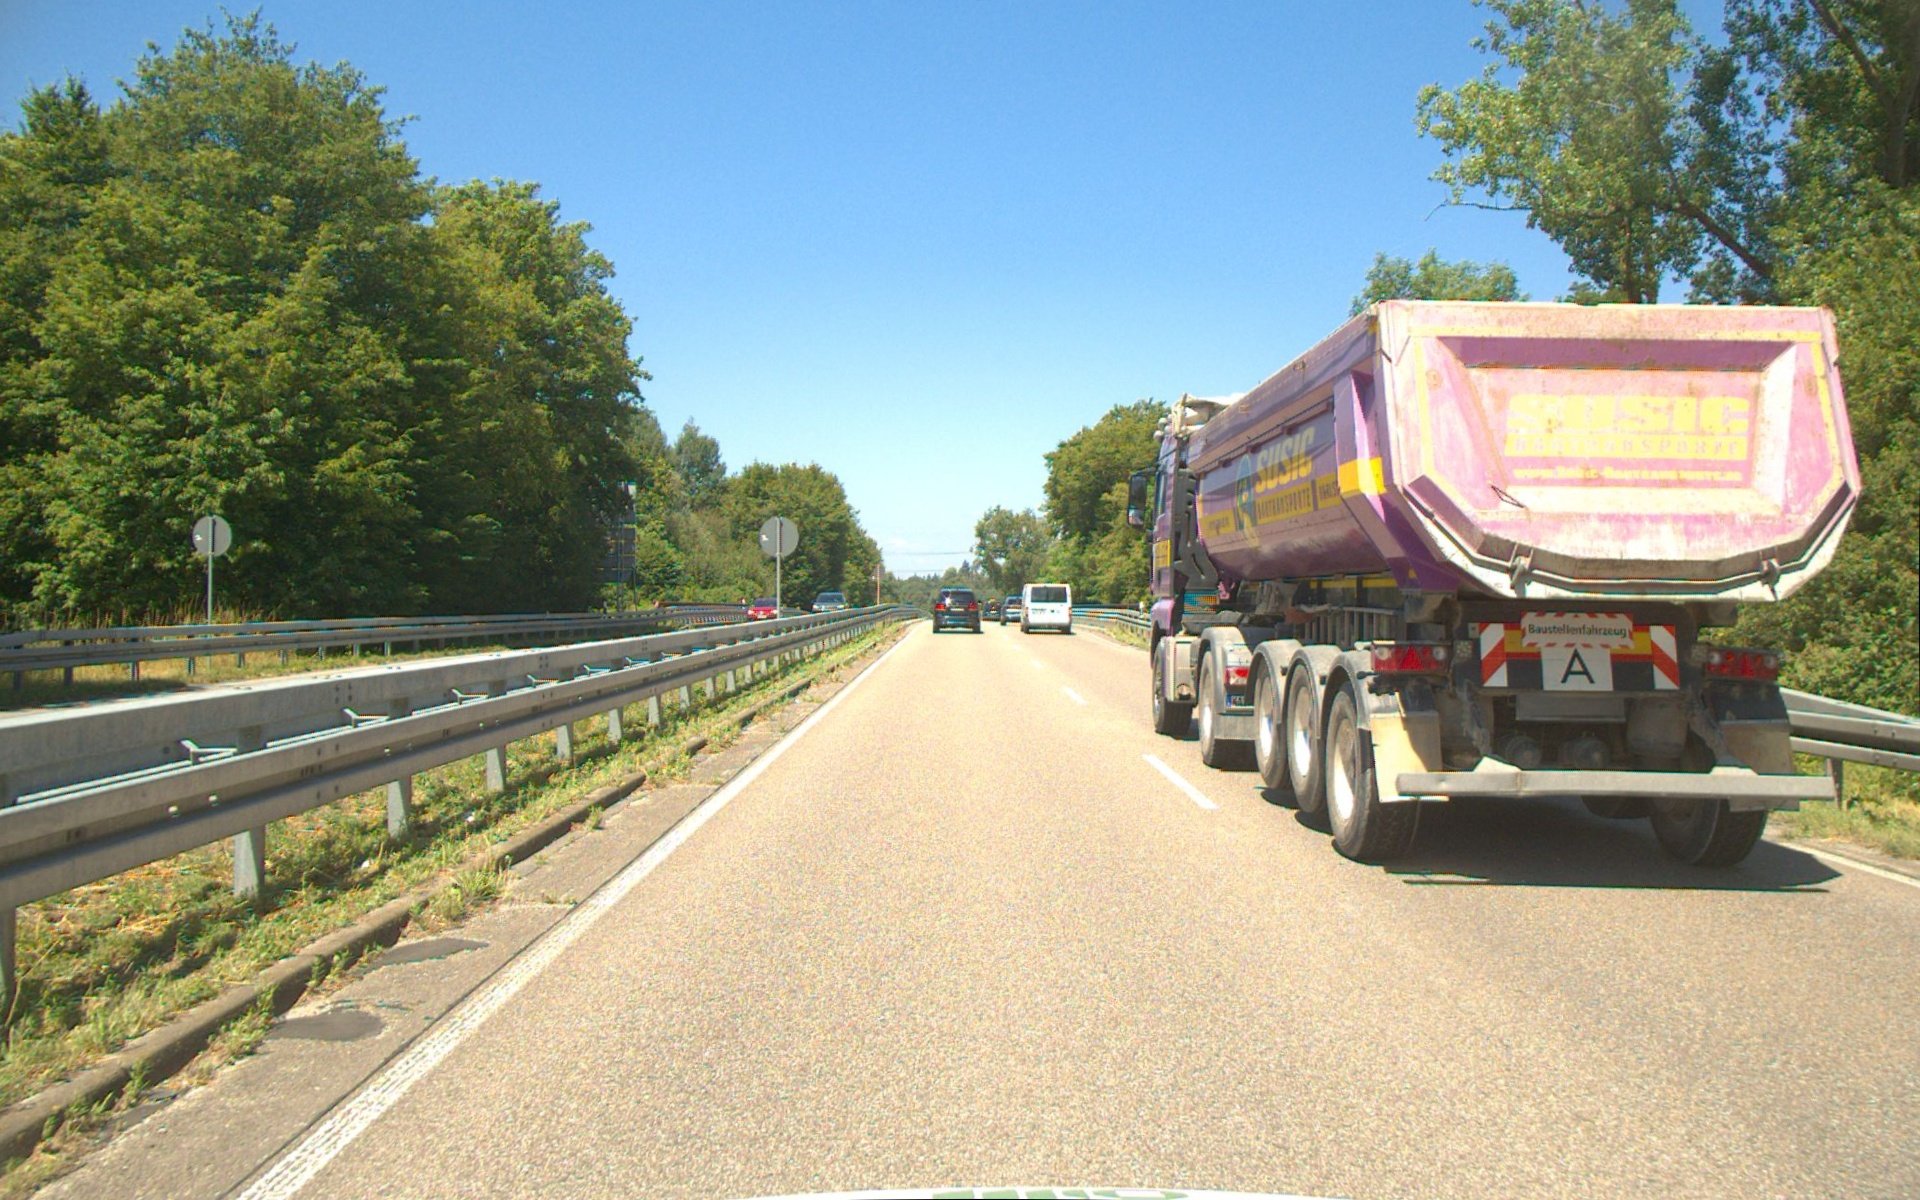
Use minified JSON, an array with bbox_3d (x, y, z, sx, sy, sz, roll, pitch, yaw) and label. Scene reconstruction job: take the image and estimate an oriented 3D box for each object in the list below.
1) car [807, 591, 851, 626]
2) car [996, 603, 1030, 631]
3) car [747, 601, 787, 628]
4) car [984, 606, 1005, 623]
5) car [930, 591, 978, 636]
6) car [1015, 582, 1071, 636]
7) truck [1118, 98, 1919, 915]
[{"bbox_3d":[-7.050,0.440,89.333,1.952,1.825,4.748,-1,0,1],"label":"car"},{"bbox_3d":[2.842,0.890,88.904,1.571,1.445,3.520,-1,0,-3],"label":"car"},{"bbox_3d":[-10.570,0.783,90.928,1.760,1.415,3.999,-1,0,-1],"label":"car"},{"bbox_3d":[2.926,1.228,141.608,1.571,1.445,3.520,-1,0,-3],"label":"car"},{"bbox_3d":[-0.273,0.564,66.532,1.820,1.701,3.998,1,-2,-1],"label":"car"},{"bbox_3d":[3.364,0.353,67.630,1.953,2.113,3.998,-1,0,-2],"label":"car"},{"bbox_3d":[3.438,-0.465,14.400,2.665,3.999,12.367,1,0,-1],"label":"truck"}]
